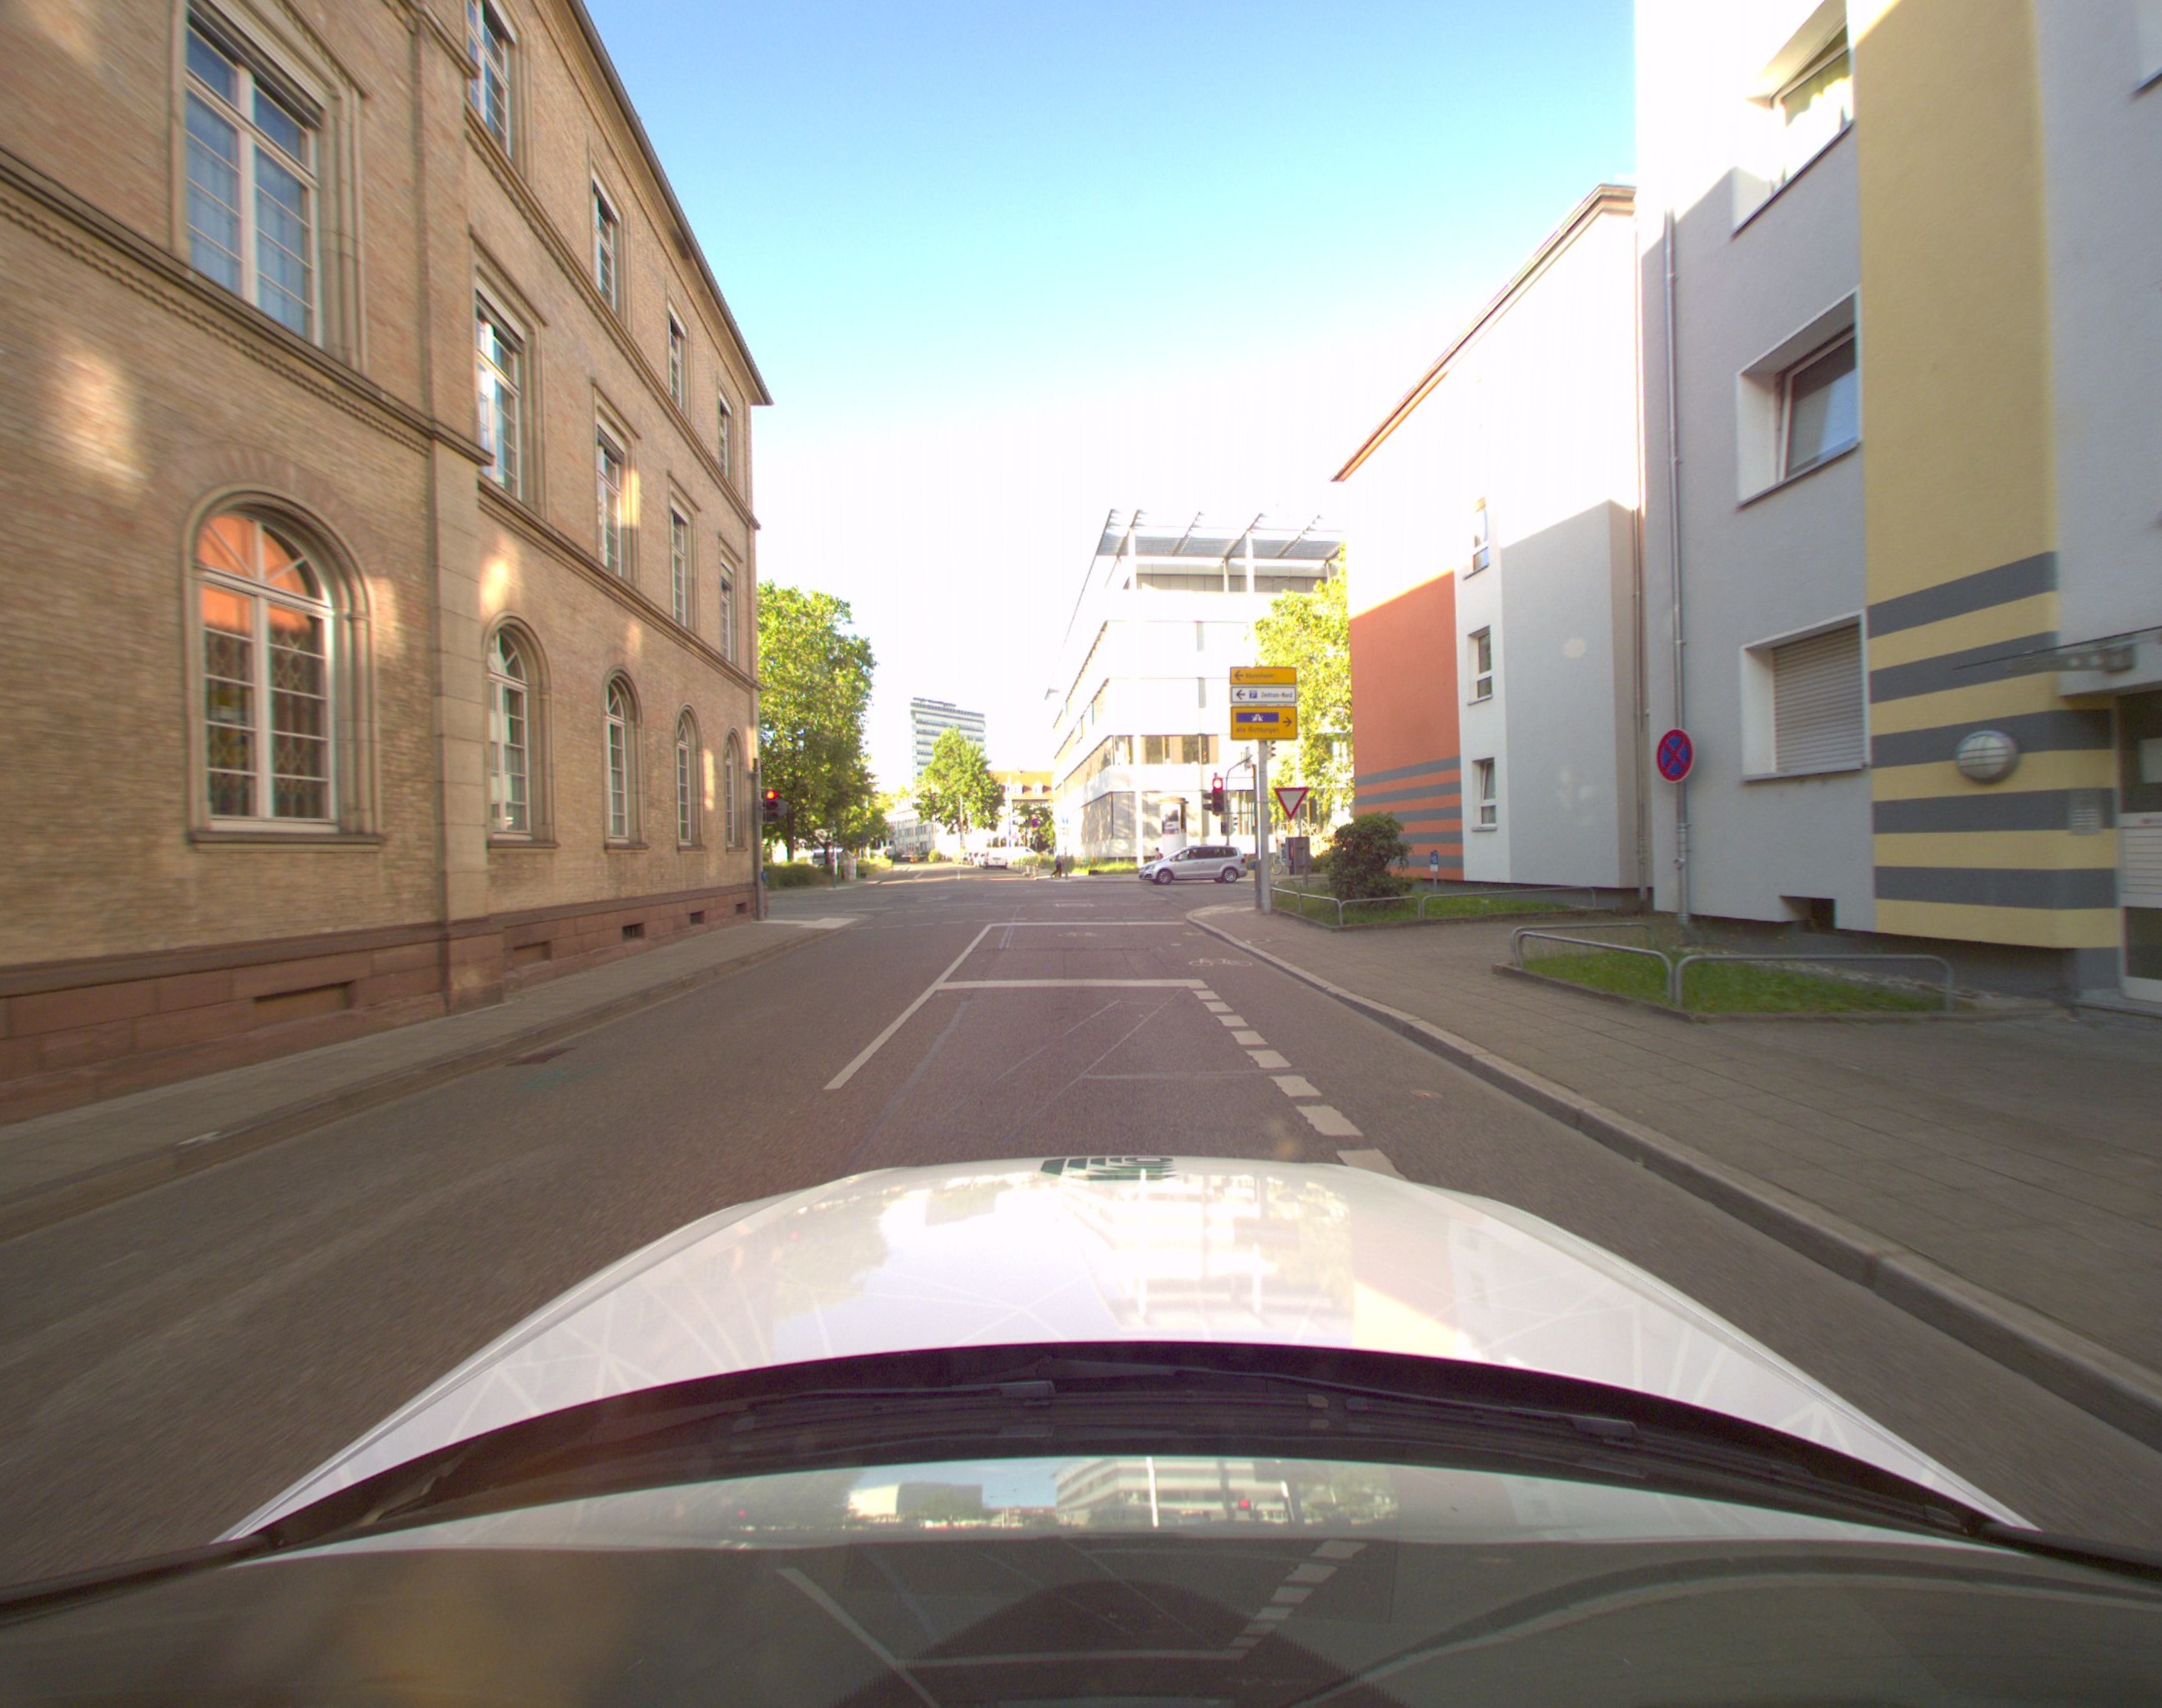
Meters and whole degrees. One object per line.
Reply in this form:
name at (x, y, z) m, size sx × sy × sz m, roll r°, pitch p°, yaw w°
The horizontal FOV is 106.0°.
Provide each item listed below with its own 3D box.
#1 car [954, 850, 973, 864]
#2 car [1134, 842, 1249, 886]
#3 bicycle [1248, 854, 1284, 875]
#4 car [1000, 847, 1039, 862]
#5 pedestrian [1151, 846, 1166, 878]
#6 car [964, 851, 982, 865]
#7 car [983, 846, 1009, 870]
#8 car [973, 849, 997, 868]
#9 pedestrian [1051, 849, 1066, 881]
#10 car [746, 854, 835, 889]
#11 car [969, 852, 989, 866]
car at (-14.729, 0.313, 101.839) m, size 2.102 × 1.658 × 4.458 m, roll -2°, pitch 0°, yaw -11°
car at (4.866, 0.432, 36.244) m, size 4.753 × 1.707 × 1.796 m, roll -3°, pitch 0°, yaw -6°
bicycle at (9.660, 0.560, 42.603) m, size 0.467 × 1.049 × 1.892 m, roll -2°, pitch 0°, yaw -42°
car at (-8.198, 0.060, 109.118) m, size 4.893 × 1.872 × 1.989 m, roll 0°, pitch -1°, yaw -17°
pedestrian at (3.977, 0.392, 41.635) m, size 0.708 × 1.599 × 0.618 m, roll -2°, pitch 0°, yaw 7°
car at (-12.262, 0.419, 92.048) m, size 1.705 × 1.464 × 4.222 m, roll -2°, pitch 0°, yaw -11°
car at (-7.404, 0.358, 70.819) m, size 2.066 × 1.963 × 4.225 m, roll -2°, pitch 0°, yaw -9°
car at (-9.790, 0.426, 82.659) m, size 1.948 × 1.795 × 4.220 m, roll -2°, pitch 0°, yaw -13°
pedestrian at (-1.271, 0.617, 45.763) m, size 0.654 × 1.736 × 0.808 m, roll -2°, pitch 0°, yaw -15°
car at (-15.744, 0.925, 44.315) m, size 4.222 × 1.777 × 1.899 m, roll -2°, pitch 0°, yaw -9°
car at (-11.019, 0.552, 87.640) m, size 1.706 × 1.424 × 4.218 m, roll -2°, pitch 0°, yaw -13°
